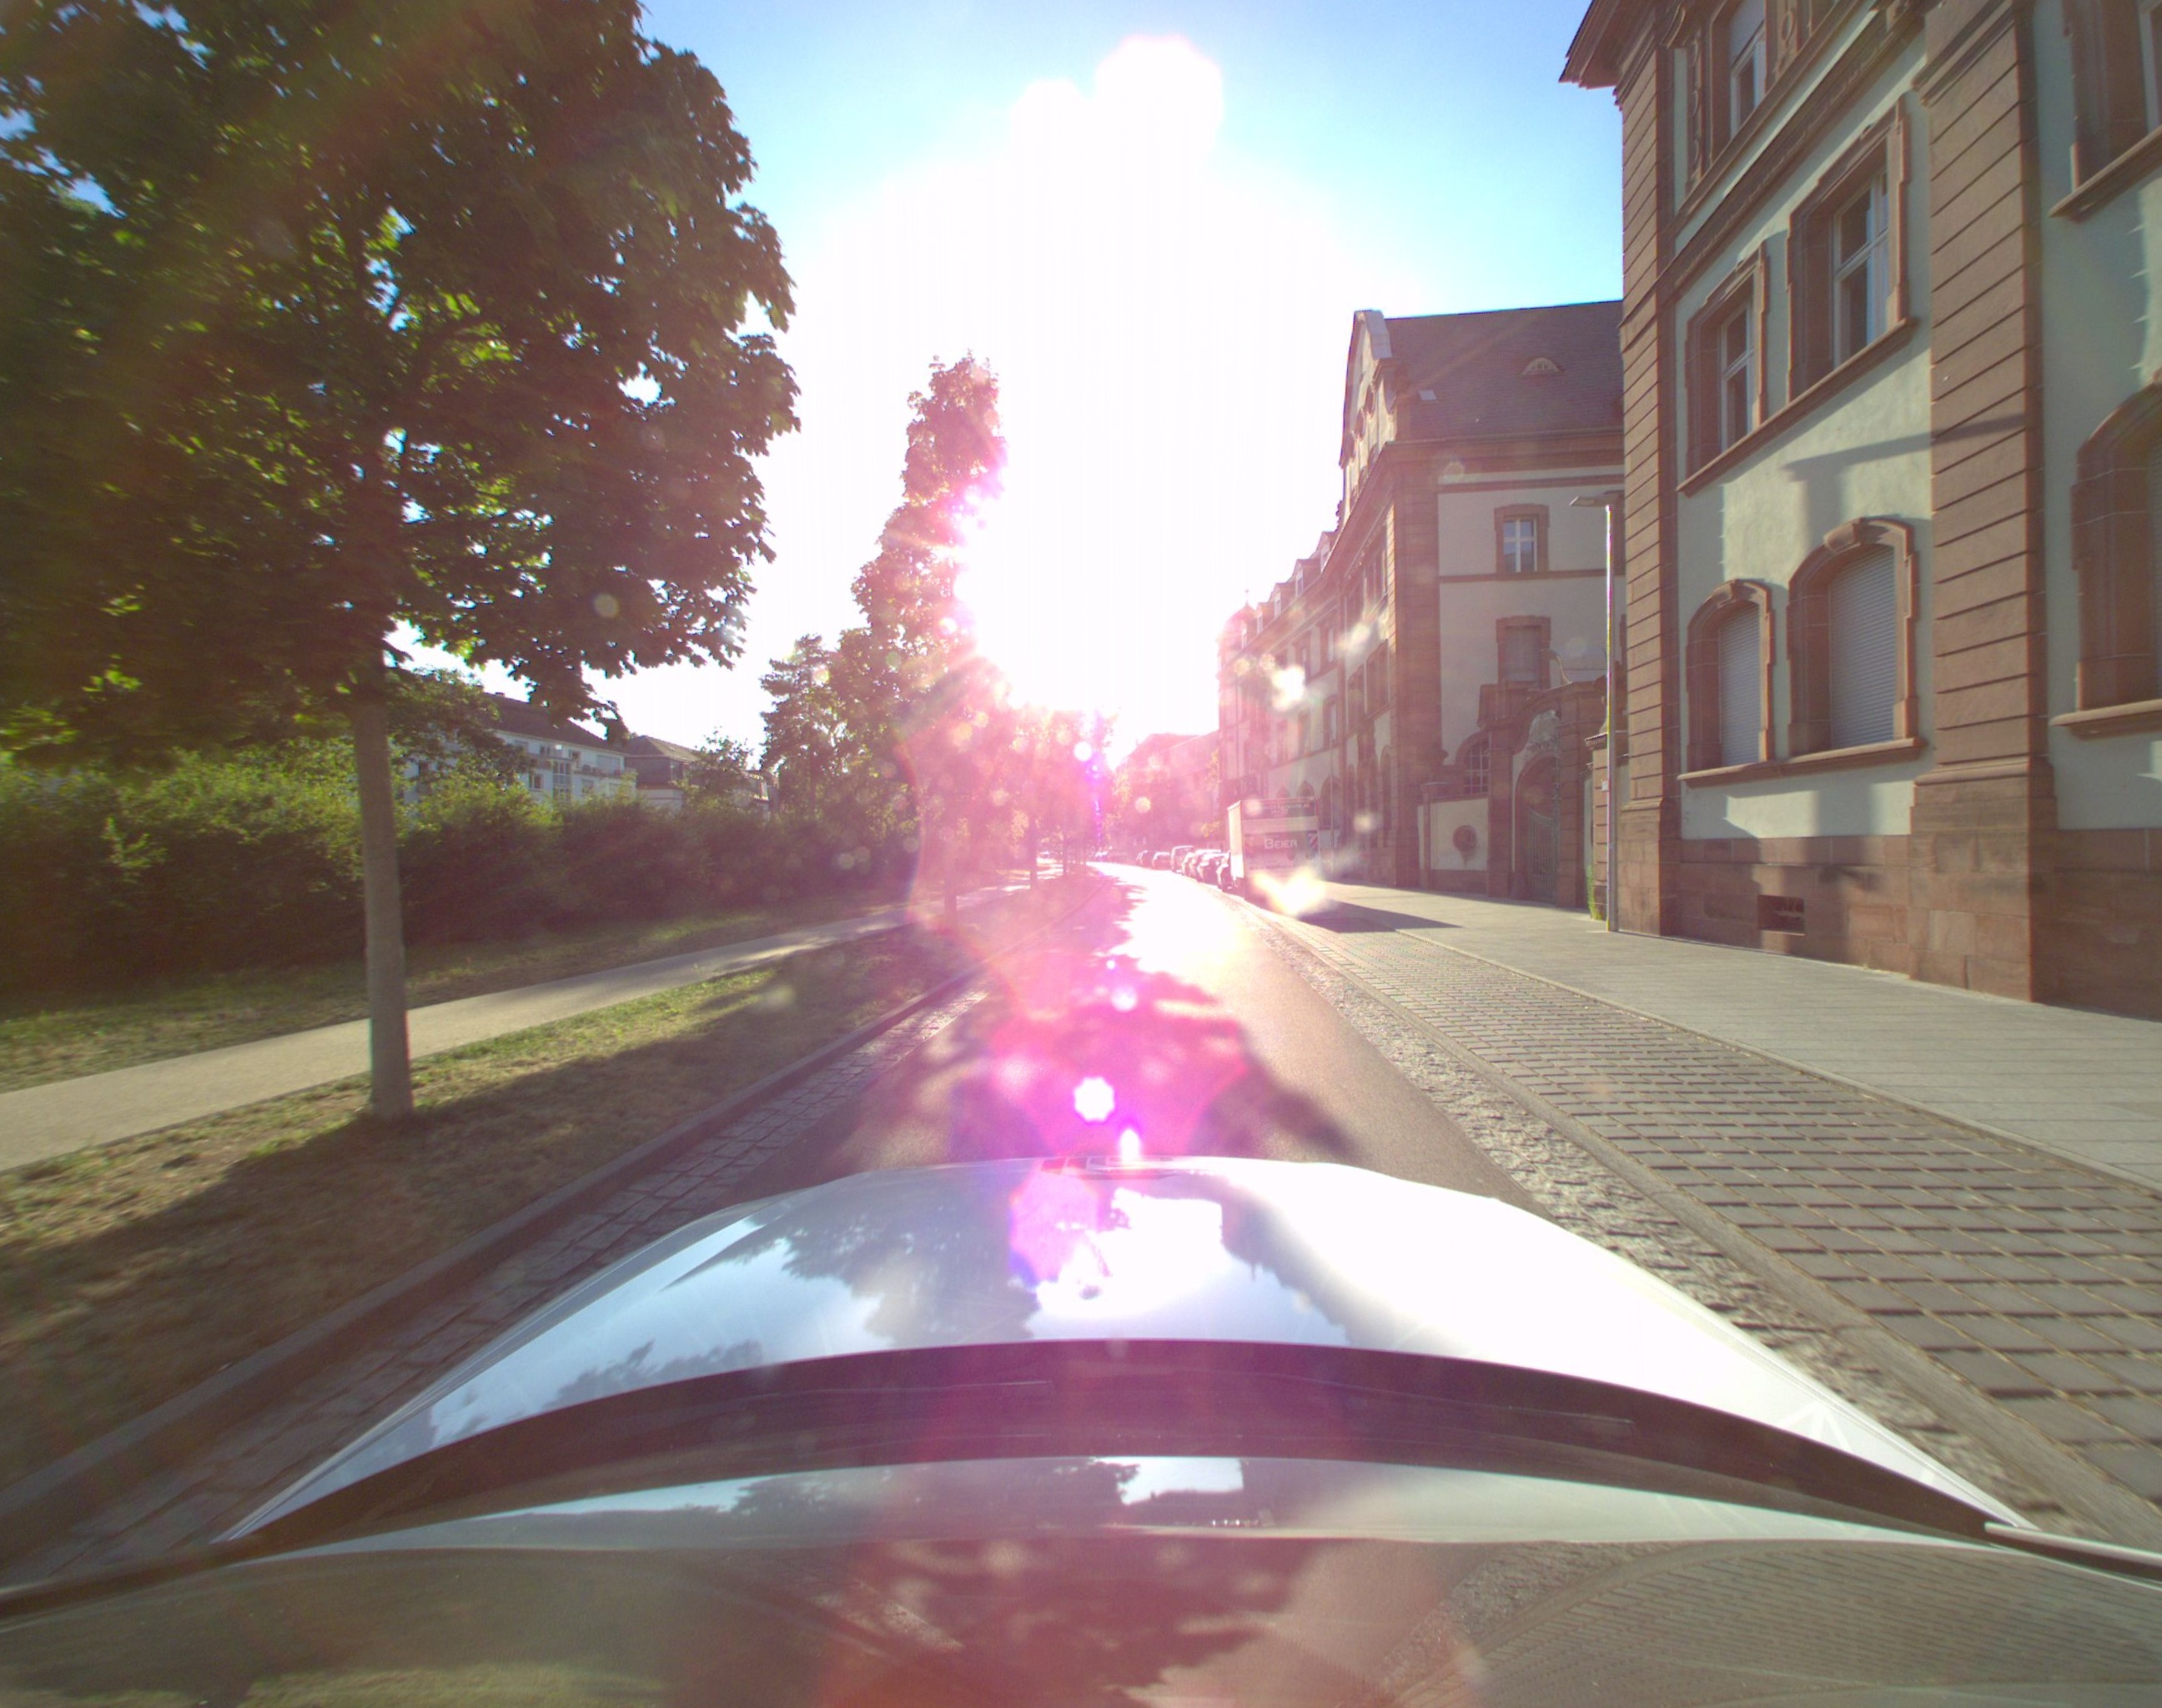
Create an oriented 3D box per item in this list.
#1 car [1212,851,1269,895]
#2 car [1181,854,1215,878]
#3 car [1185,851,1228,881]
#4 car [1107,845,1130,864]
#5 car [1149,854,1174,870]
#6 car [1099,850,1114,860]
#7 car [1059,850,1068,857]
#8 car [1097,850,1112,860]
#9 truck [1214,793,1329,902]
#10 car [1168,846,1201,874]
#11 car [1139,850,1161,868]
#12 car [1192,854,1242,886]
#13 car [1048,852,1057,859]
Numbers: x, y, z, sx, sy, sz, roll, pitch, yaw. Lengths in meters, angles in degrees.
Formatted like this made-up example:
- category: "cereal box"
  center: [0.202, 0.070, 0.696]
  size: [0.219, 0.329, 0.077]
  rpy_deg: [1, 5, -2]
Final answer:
- category: "car"
  center: [6.368, 0.704, 32.850]
  size: [1.759, 1.530, 4.579]
  rpy_deg: [-3, 0, 6]
- category: "car"
  center: [7.469, 0.729, 52.329]
  size: [1.672, 1.403, 4.202]
  rpy_deg: [-3, 0, 2]
- category: "car"
  center: [7.254, 0.668, 47.266]
  size: [1.810, 1.602, 4.192]
  rpy_deg: [-3, 0, 0]
- category: "car"
  center: [5.282, 0.053, 114.450]
  size: [2.208, 2.530, 6.135]
  rpy_deg: [-3, 0, -6]
- category: "car"
  center: [7.378, 0.724, 74.978]
  size: [1.743, 1.466, 4.473]
  rpy_deg: [0, 0, -2]
- category: "car"
  center: [3.942, 0.168, 125.439]
  size: [1.689, 1.440, 3.541]
  rpy_deg: [-2, 0, -7]
- category: "car"
  center: [-4.076, -0.100, 189.075]
  size: [1.790, 1.510, 3.995]
  rpy_deg: [-1, 0, -3]
- category: "car"
  center: [3.757, 0.143, 130.168]
  size: [1.689, 1.440, 4.093]
  rpy_deg: [-2, 0, -7]
- category: "truck"
  center: [6.093, -0.197, 26.984]
  size: [2.612, 3.120, 6.093]
  rpy_deg: [-2, 0, 3]
- category: "car"
  center: [7.944, 0.449, 62.987]
  size: [1.985, 1.966, 4.852]
  rpy_deg: [-4, 0, 3]
- category: "car"
  center: [7.204, 0.500, 85.358]
  size: [1.721, 1.669, 4.108]
  rpy_deg: [-3, 1, -4]
- category: "car"
  center: [6.903, 0.764, 41.742]
  size: [1.865, 1.436, 4.523]
  rpy_deg: [-3, 0, 1]
- category: "car"
  center: [-7.085, 0.425, 202.717]
  size: [1.791, 1.724, 3.992]
  rpy_deg: [-1, 0, -6]
